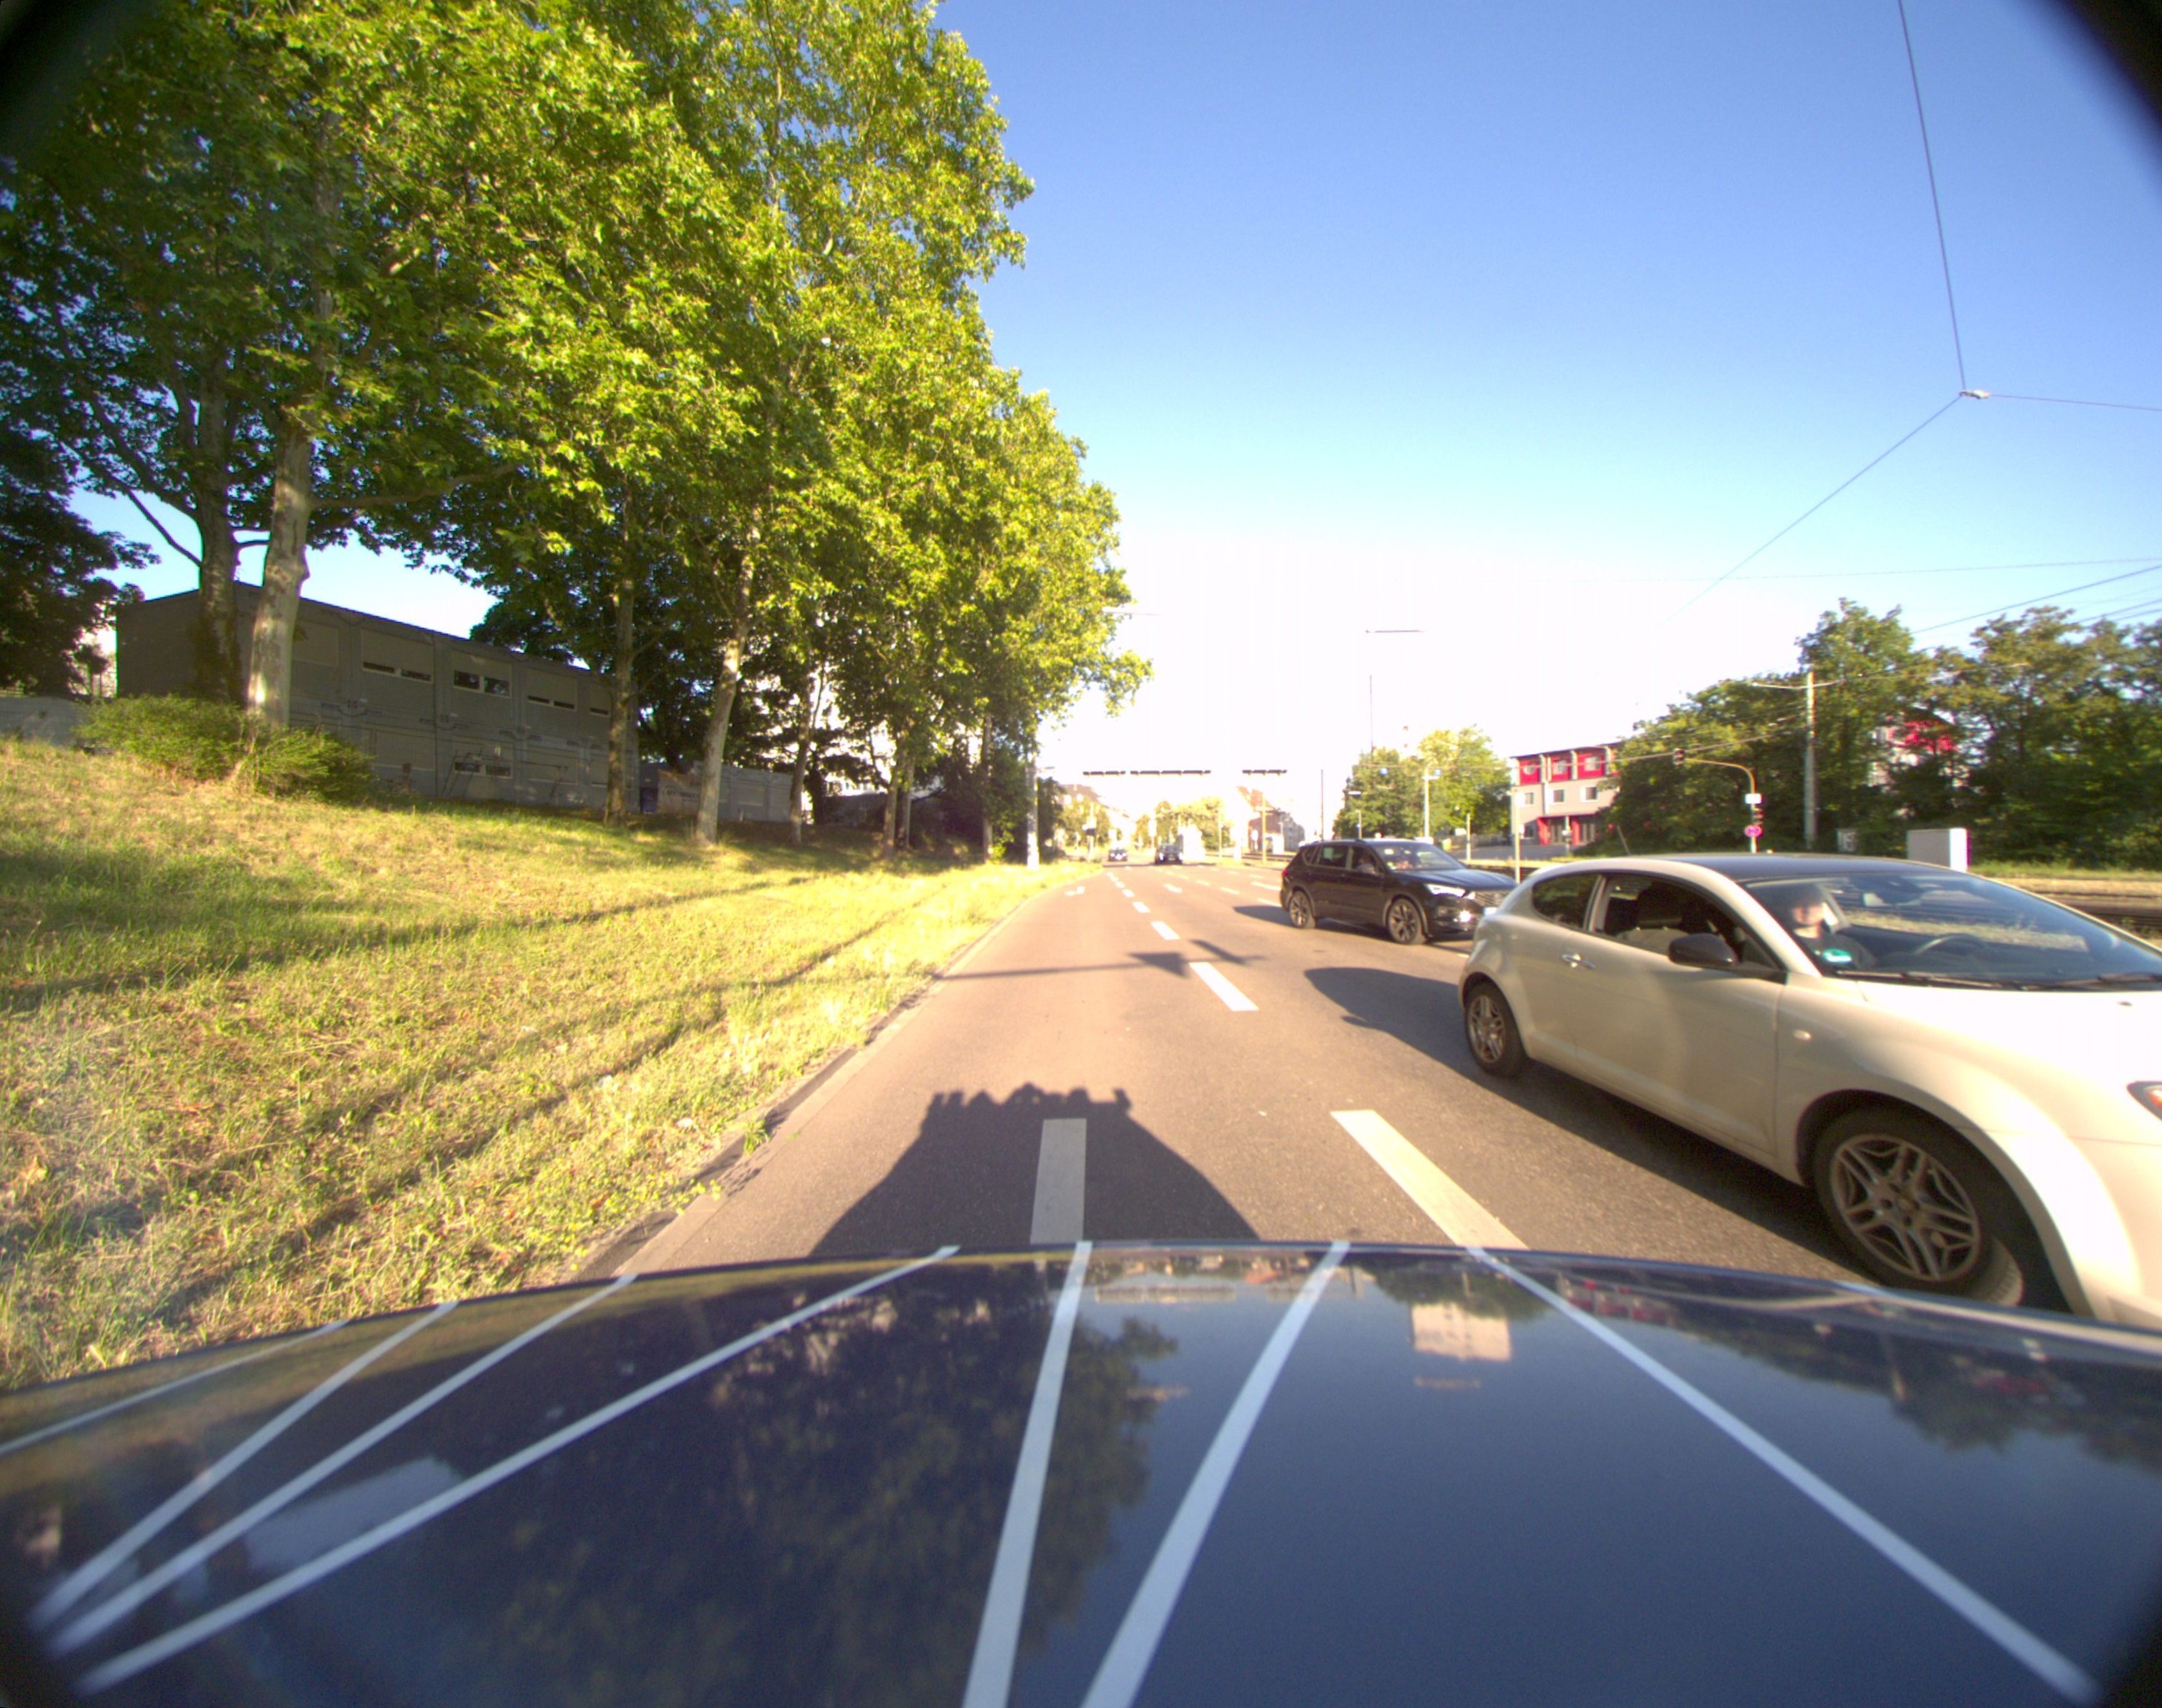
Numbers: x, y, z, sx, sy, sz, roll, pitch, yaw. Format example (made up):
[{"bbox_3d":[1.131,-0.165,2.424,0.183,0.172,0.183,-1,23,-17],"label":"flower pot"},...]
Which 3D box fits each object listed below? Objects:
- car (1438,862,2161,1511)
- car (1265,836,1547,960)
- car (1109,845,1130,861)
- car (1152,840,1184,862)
[{"bbox_3d":[3.449,0.822,3.445,1.741,1.496,3.999,-1,0,-1],"label":"car"},{"bbox_3d":[5.178,0.608,12.929,1.821,1.670,4.616,-2,0,-17],"label":"car"},{"bbox_3d":[3.724,-0.088,73.170,1.741,1.429,3.999,-2,1,-1],"label":"car"},{"bbox_3d":[6.889,-0.238,60.343,1.906,1.652,4.275,-1,0,-2],"label":"car"}]
